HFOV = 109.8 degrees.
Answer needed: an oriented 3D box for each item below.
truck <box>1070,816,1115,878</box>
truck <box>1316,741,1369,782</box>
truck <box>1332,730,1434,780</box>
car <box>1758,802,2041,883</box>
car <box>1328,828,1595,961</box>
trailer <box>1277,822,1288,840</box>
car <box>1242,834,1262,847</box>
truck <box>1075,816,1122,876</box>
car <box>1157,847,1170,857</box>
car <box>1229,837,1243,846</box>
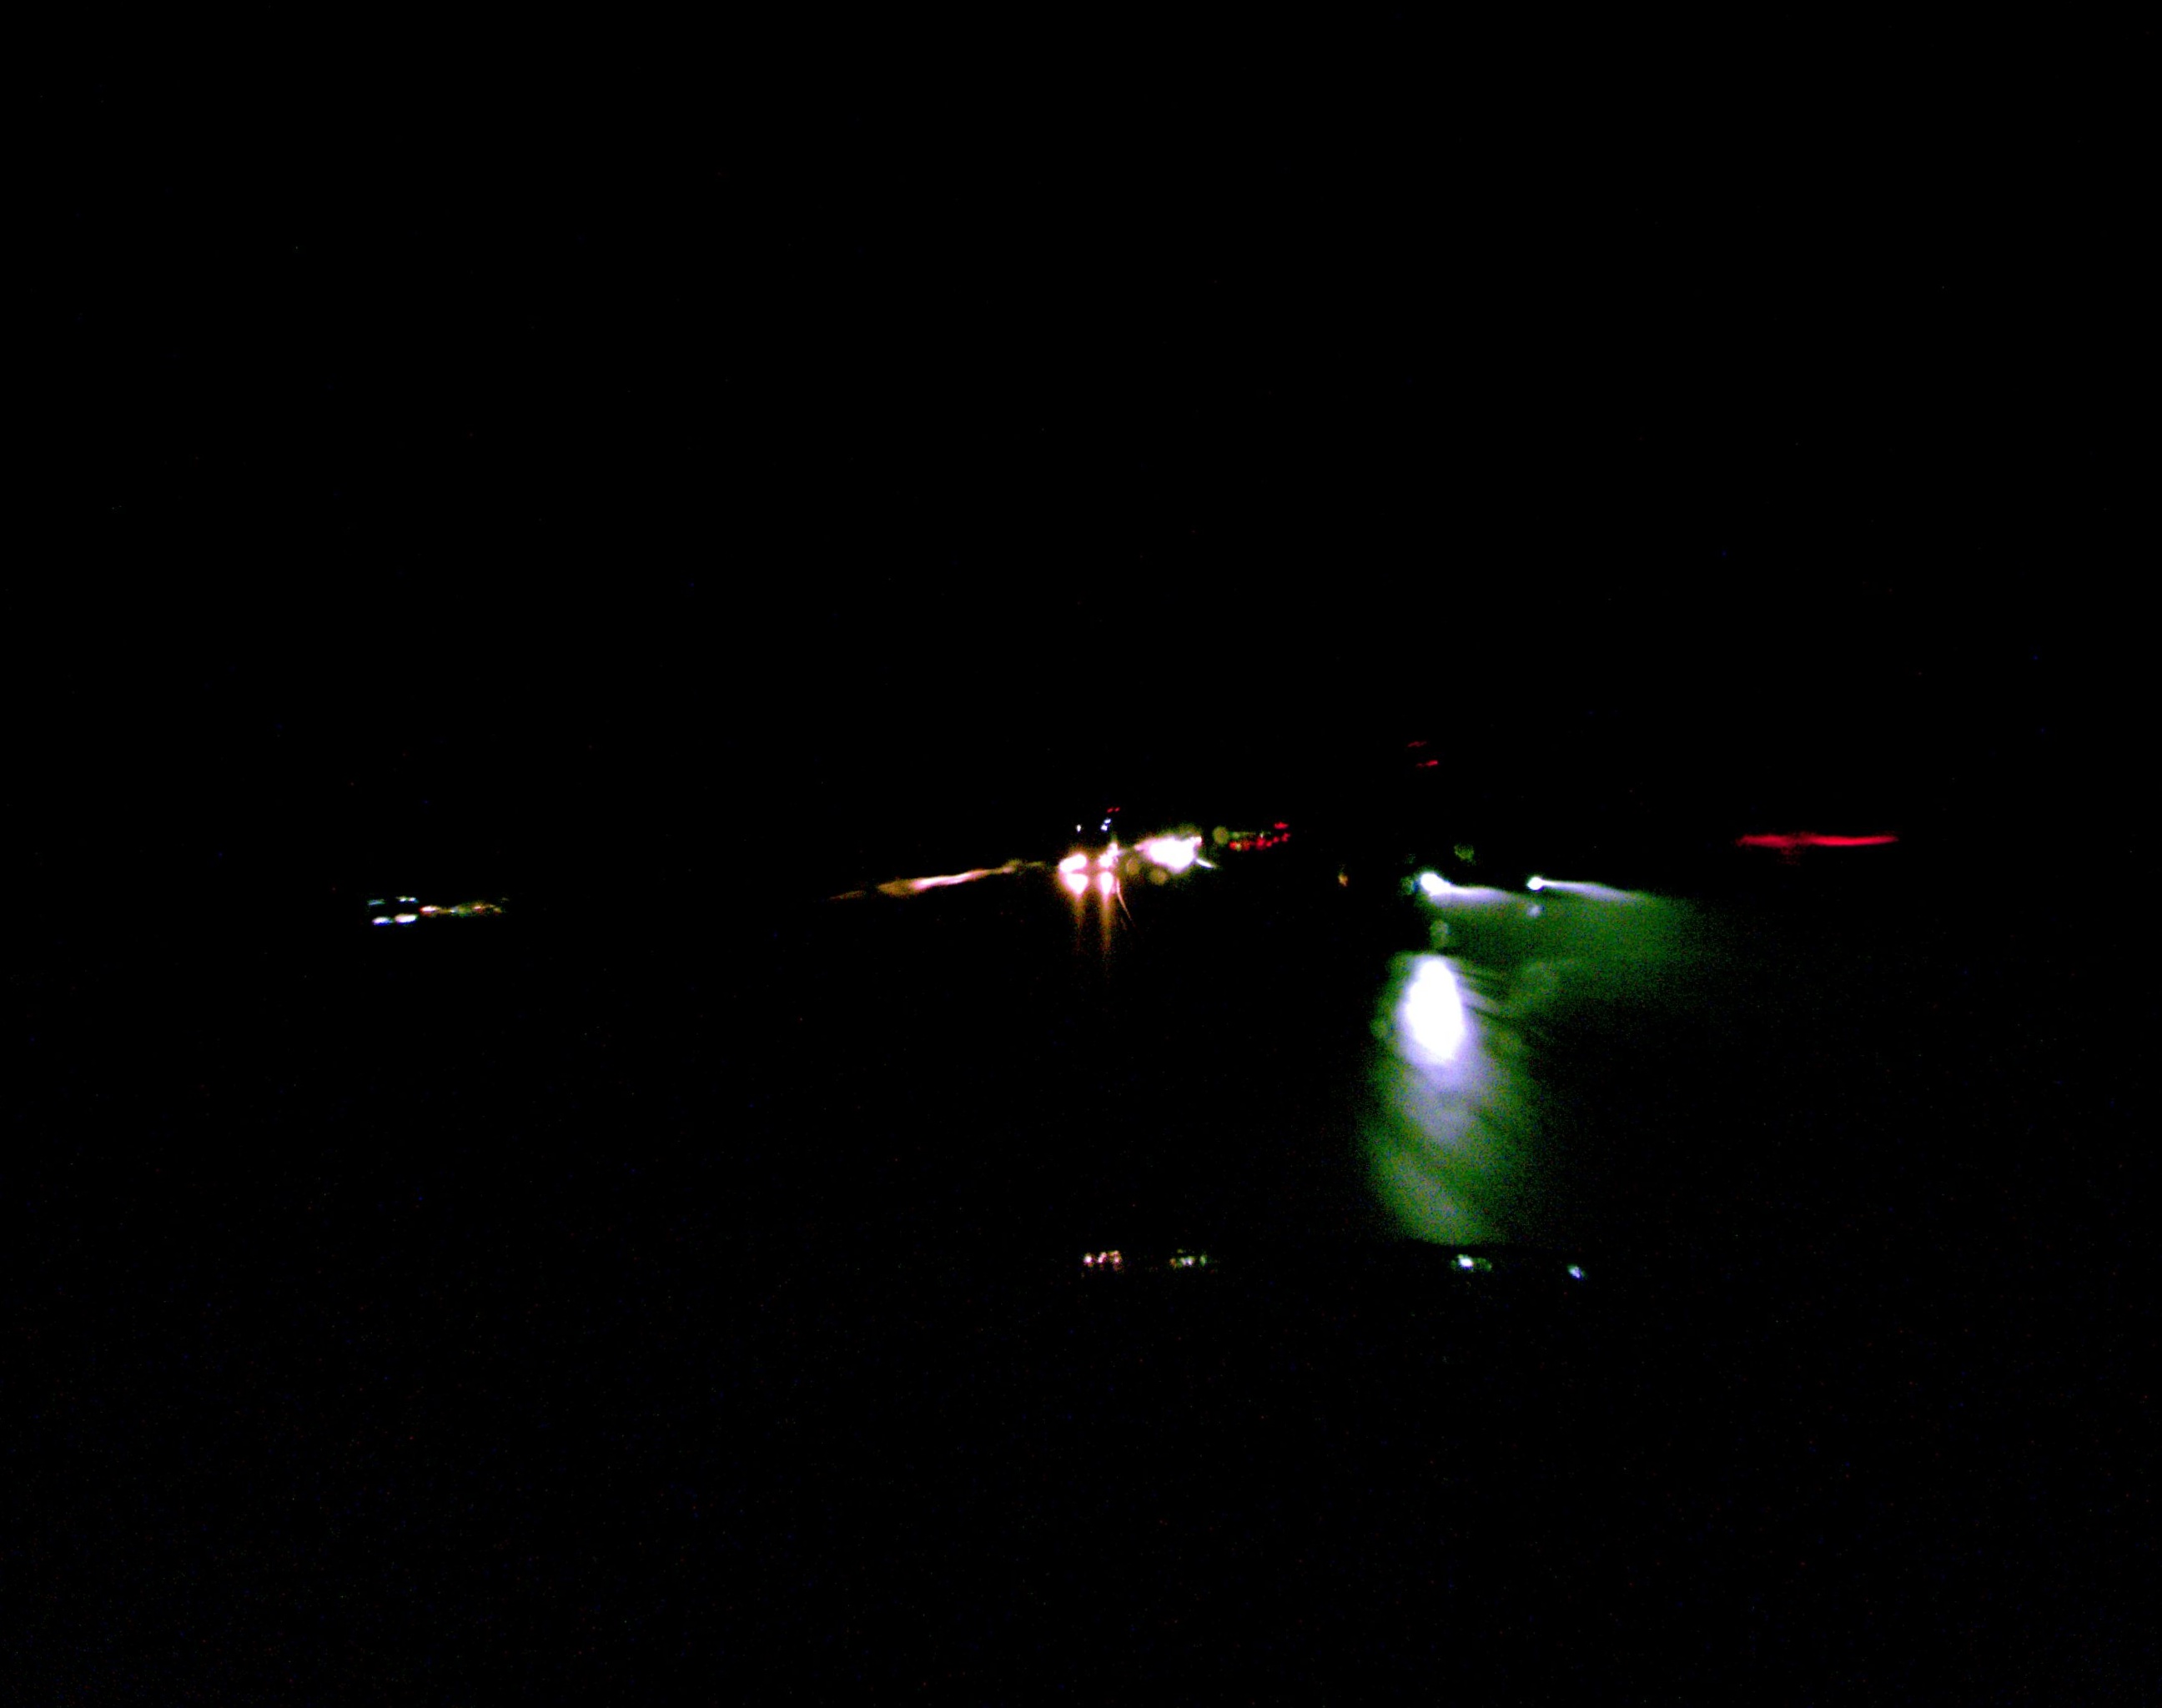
[{"bbox_3d":[0.937,-0.564,55.859,2.502,4.224,5.983,-2,2,7],"label":"truck"},{"bbox_3d":[27.979,-9.858,81.489,2.420,3.759,5.419,-3,2,-21],"label":"truck"},{"bbox_3d":[30.005,-9.775,76.280,2.420,3.759,11.210,-3,2,-21],"label":"truck"},{"bbox_3d":[19.067,-0.250,18.104,1.776,1.622,4.703,-2,0,2],"label":"car"},{"bbox_3d":[6.484,0.509,13.908,2.142,1.874,5.553,-2,2,1],"label":"car"},{"bbox_3d":[57.522,-6.565,216.872,2.778,4.948,14.117,-2,2,15],"label":"trailer"},{"bbox_3d":[21.614,-1.727,96.134,1.746,1.484,4.000,-2,1,4],"label":"car"},{"bbox_3d":[1.641,-0.798,61.912,2.502,4.224,13.644,-2,2,6],"label":"truck"},{"bbox_3d":[14.104,-0.408,129.947,1.998,1.553,4.646,-2,2,4],"label":"car"},{"bbox_3d":[26.497,-2.173,129.824,1.746,1.484,4.000,-2,1,4],"label":"car"}]
